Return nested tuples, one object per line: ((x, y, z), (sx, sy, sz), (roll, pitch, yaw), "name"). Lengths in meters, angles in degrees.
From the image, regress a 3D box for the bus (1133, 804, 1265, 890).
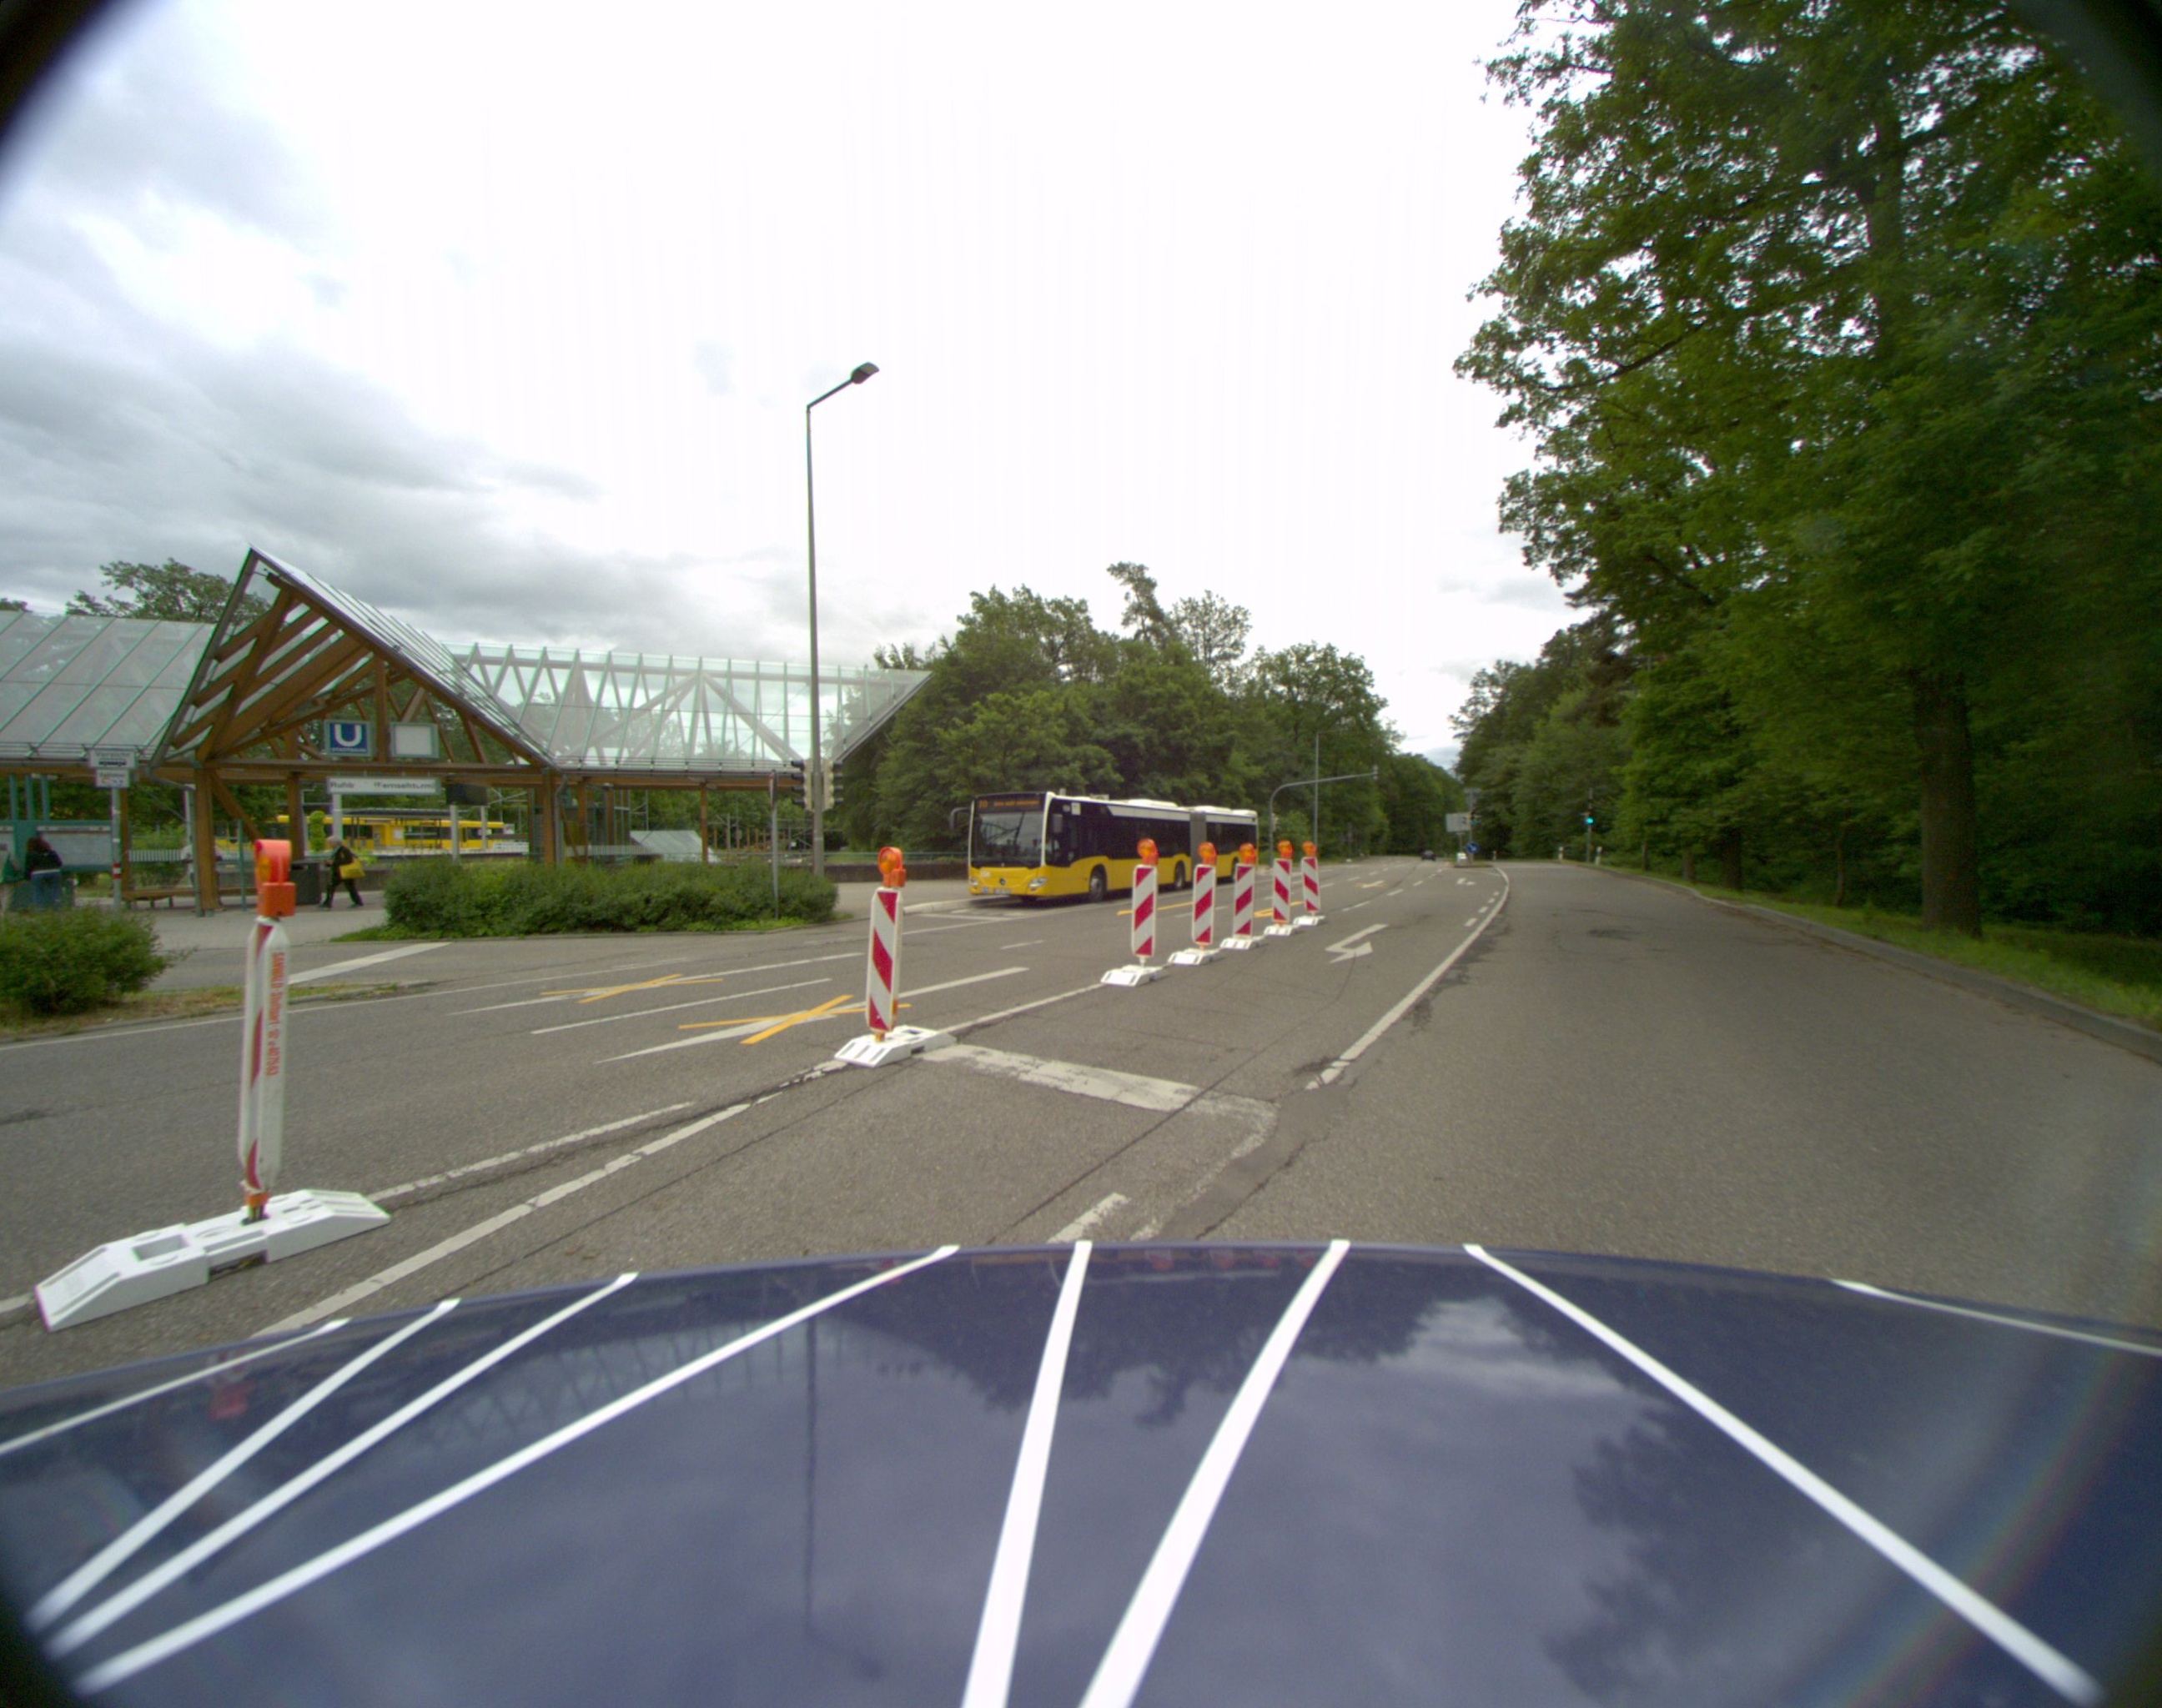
((5.160, -0.311, 31.696), (2.804, 3.141, 7.771), (0, 1, 30), "bus")

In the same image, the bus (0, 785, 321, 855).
((-56.564, -1.841, 45.395), (3.977, 3.464, 18.569), (-2, 1, -2), "bus")

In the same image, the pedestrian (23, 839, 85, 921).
((-22.217, 0.550, 16.448), (0.667, 1.748, 0.601), (-1, 2, 25), "pedestrian")

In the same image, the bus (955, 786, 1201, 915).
((0.551, -0.173, 23.746), (2.804, 3.141, 10.537), (0, 1, 30), "bus")

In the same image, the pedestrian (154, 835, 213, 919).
((-19.336, 0.472, 16.384), (0.657, 1.748, 0.666), (-3, 2, -41), "pedestrian")

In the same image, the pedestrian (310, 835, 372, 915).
((-16.525, 0.452, 16.981), (0.668, 1.748, 0.655), (-2, 2, -6), "pedestrian")

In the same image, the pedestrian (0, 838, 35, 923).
((-22.675, 0.552, 15.986), (0.667, 1.748, 0.601), (-1, 2, 25), "pedestrian")

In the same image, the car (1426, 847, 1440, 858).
((49.367, -0.208, 106.570), (1.748, 1.323, 4.006), (-1, 1, 25), "car")
